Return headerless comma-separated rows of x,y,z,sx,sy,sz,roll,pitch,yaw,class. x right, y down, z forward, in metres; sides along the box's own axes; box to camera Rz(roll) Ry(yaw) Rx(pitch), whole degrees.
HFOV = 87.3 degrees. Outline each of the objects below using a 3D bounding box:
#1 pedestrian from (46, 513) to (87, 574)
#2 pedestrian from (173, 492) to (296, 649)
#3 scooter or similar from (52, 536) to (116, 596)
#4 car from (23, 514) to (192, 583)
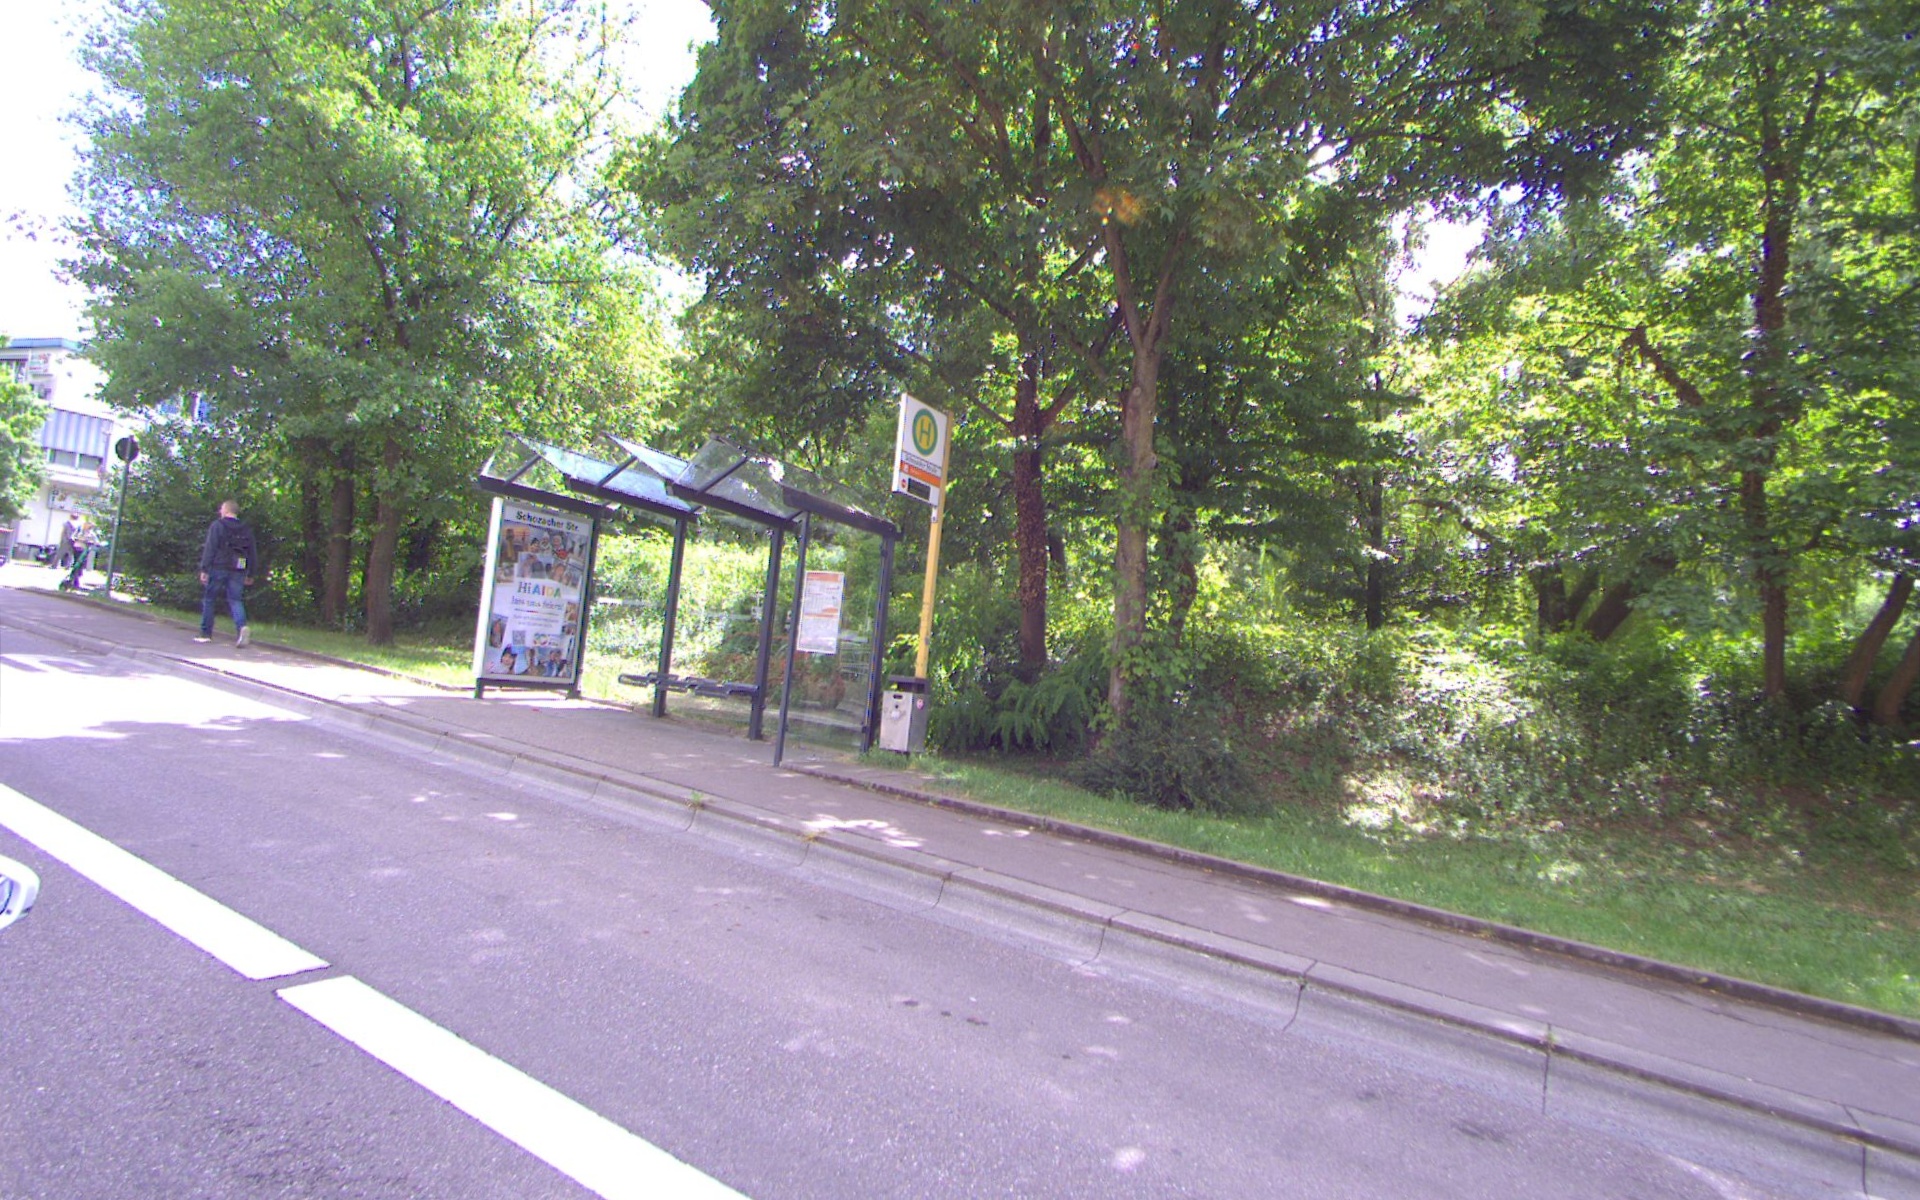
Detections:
-26.802,-1.676,30.188,0.652,1.733,0.458,8,-1,-29,pedestrian
-9.506,-0.378,13.188,0.996,1.898,0.797,6,-1,32,pedestrian
-20.276,-0.775,23.308,0.447,1.244,0.892,7,-2,27,scooter or similar
-33.338,-1.961,39.508,1.964,2.038,4.549,6,-1,24,car
